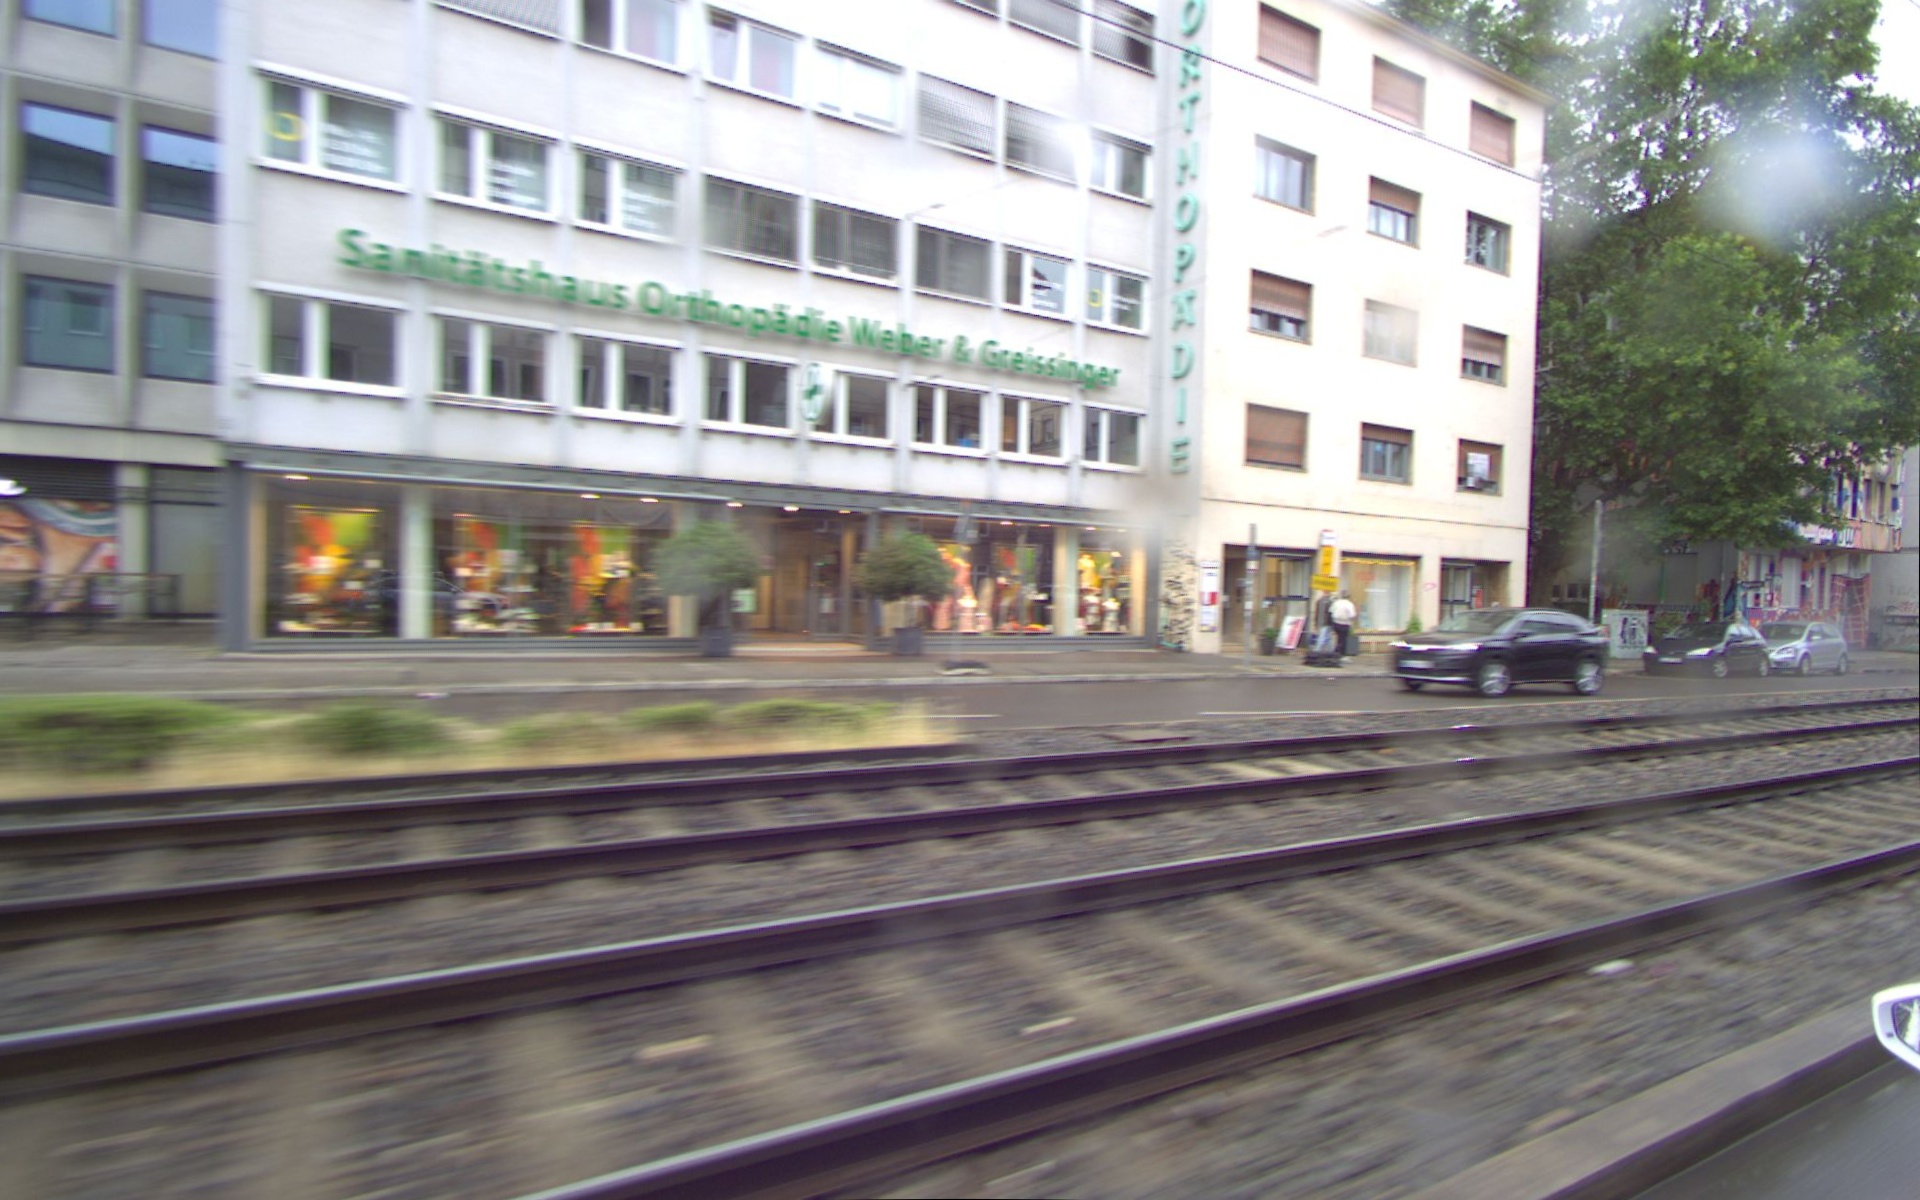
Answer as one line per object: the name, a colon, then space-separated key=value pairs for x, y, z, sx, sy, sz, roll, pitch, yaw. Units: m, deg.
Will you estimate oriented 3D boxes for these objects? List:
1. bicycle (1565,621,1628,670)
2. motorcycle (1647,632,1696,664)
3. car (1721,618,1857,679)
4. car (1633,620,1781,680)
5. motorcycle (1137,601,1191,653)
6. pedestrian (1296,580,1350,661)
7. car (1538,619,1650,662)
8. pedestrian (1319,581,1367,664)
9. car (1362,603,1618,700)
bicycle: x=17.160 y=1.220 z=27.052 sx=2.382 sy=1.243 sz=0.586 roll=2 pitch=1 yaw=-37
motorcycle: x=24.933 y=1.679 z=35.192 sx=2.096 sy=1.047 sz=0.635 roll=1 pitch=1 yaw=-32
car: x=24.444 y=1.407 z=29.594 sx=4.170 sy=1.591 sz=1.713 roll=2 pitch=1 yaw=-30
car: x=20.265 y=1.335 z=27.223 sx=4.170 sy=1.488 sz=1.735 roll=2 pitch=-1 yaw=-30
motorcycle: x=4.921 y=0.639 z=24.307 sx=0.381 sy=1.196 sz=1.469 roll=1 pitch=1 yaw=-30
pedestrian: x=8.828 y=0.488 z=24.446 sx=0.971 sy=1.921 sz=0.724 roll=2 pitch=1 yaw=-30
car: x=23.690 y=1.484 z=37.543 sx=3.954 sy=1.474 sz=1.983 roll=1 pitch=0 yaw=-31
pedestrian: x=9.077 y=0.527 z=23.812 sx=0.734 sy=1.921 sz=0.675 roll=2 pitch=1 yaw=-30
car: x=9.745 y=0.912 z=18.441 sx=4.387 sy=1.539 sz=1.986 roll=2 pitch=1 yaw=-27
